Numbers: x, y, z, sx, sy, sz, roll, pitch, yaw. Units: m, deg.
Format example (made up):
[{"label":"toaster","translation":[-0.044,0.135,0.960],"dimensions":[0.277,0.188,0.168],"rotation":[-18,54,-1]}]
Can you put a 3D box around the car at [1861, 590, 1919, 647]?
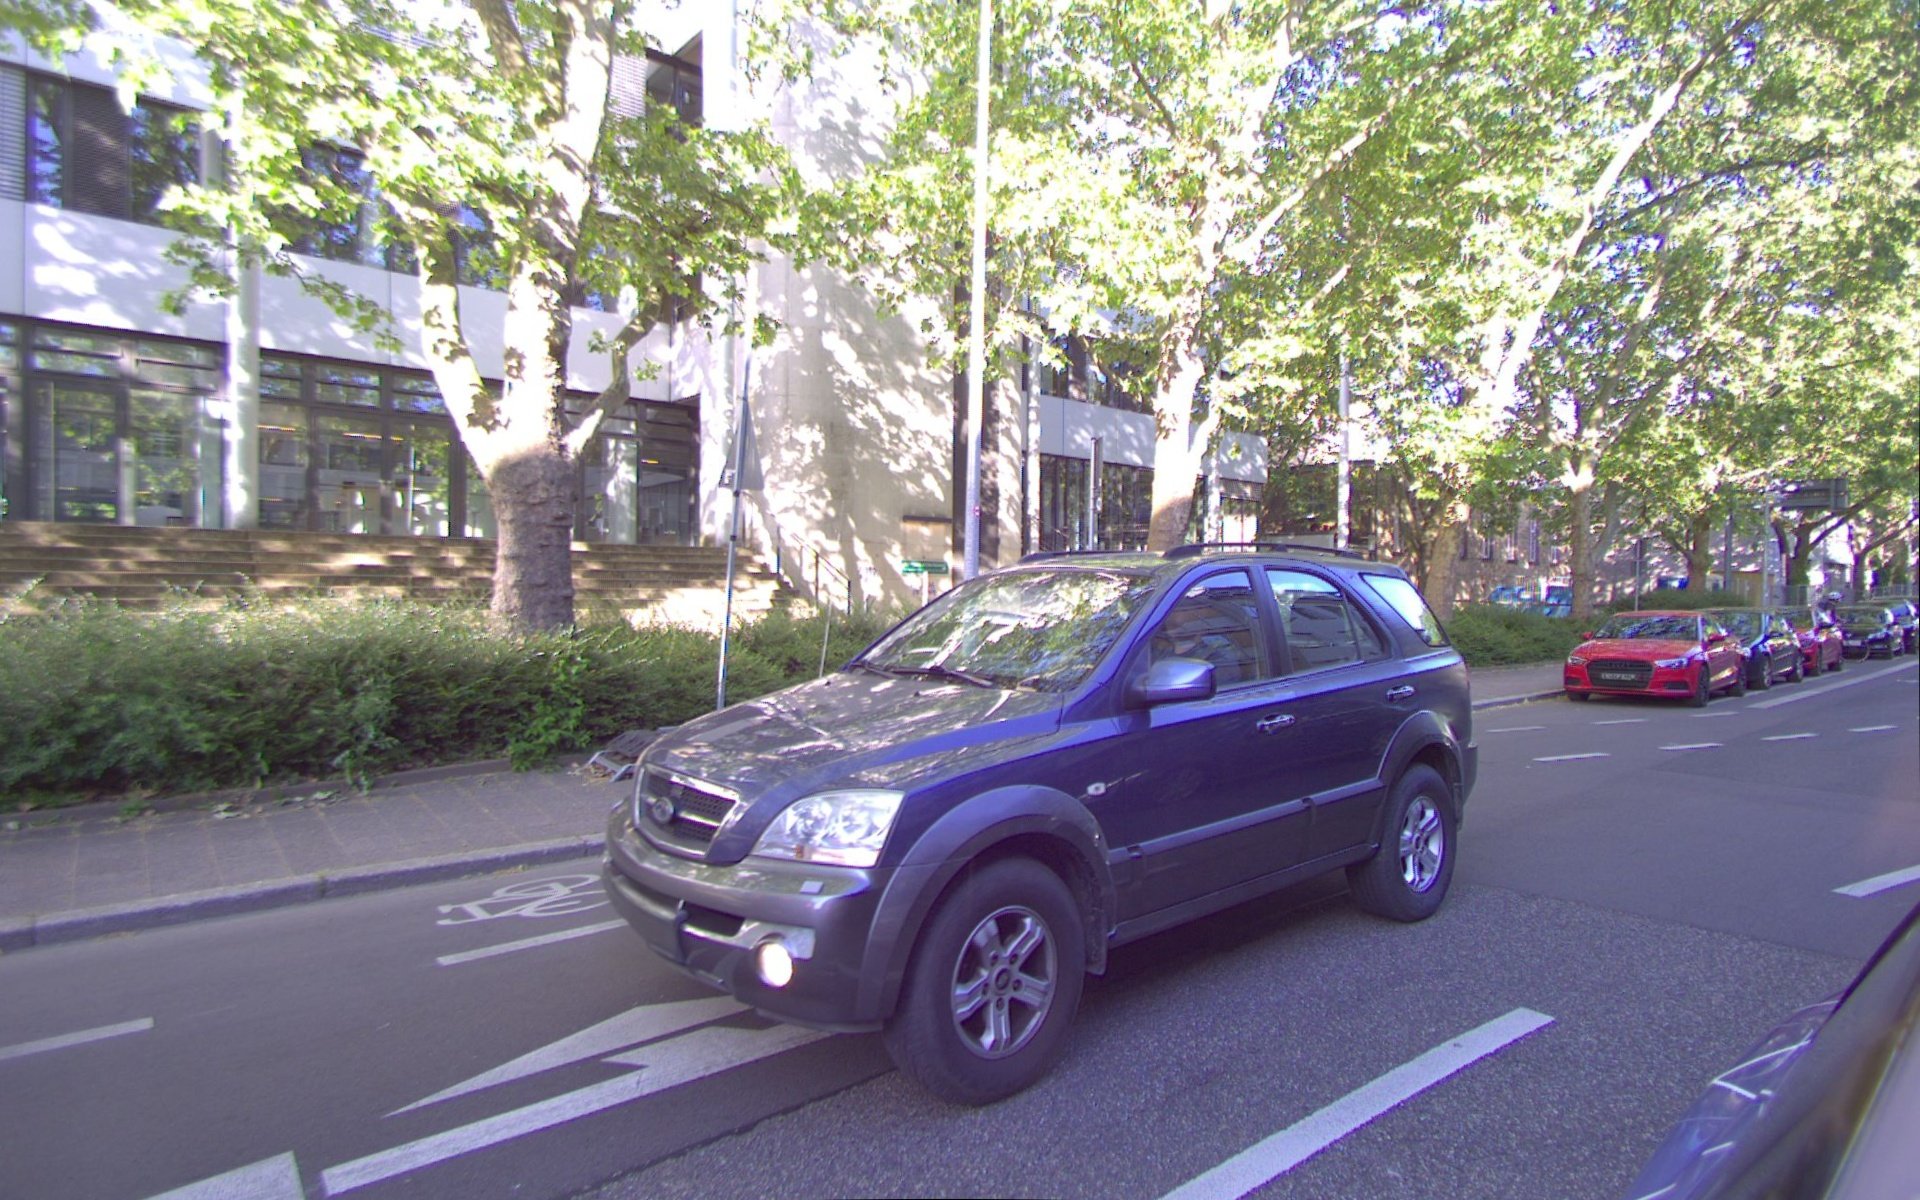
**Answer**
[{"label":"car","translation":[29.678,0.545,31.795],"dimensions":[3.840,1.708,1.633],"rotation":[0,1,-42]}]

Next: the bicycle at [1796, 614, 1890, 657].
[{"label":"bicycle","translation":[22.889,0.898,26.273],"dimensions":[1.790,1.027,0.724],"rotation":[0,0,39]}]

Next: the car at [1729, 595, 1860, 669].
[{"label":"car","translation":[18.632,0.670,22.544],"dimensions":[3.851,1.511,1.679],"rotation":[0,-1,-42]}]

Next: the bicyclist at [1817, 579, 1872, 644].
[{"label":"bicyclist","translation":[22.923,0.287,26.253],"dimensions":[1.032,1.640,0.688],"rotation":[0,0,39]}]

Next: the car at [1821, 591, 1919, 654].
[{"label":"car","translation":[25.958,0.590,28.751],"dimensions":[4.022,1.653,1.739],"rotation":[0,1,-42]}]

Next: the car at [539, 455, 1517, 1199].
[{"label":"car","translation":[0.630,0.554,4.505],"dimensions":[4.306,1.793,1.784],"rotation":[0,-1,-40]}]

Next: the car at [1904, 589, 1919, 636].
[{"label":"car","translation":[38.737,0.496,40.000],"dimensions":[3.829,1.818,1.739],"rotation":[0,1,-42]}]

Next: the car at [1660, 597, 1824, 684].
[{"label":"car","translation":[14.898,0.710,19.203],"dimensions":[4.022,1.472,1.739],"rotation":[0,-1,-42]}]

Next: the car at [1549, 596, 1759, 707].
[{"label":"car","translation":[11.160,0.736,16.175],"dimensions":[4.071,1.548,1.827],"rotation":[0,-1,-42]}]
